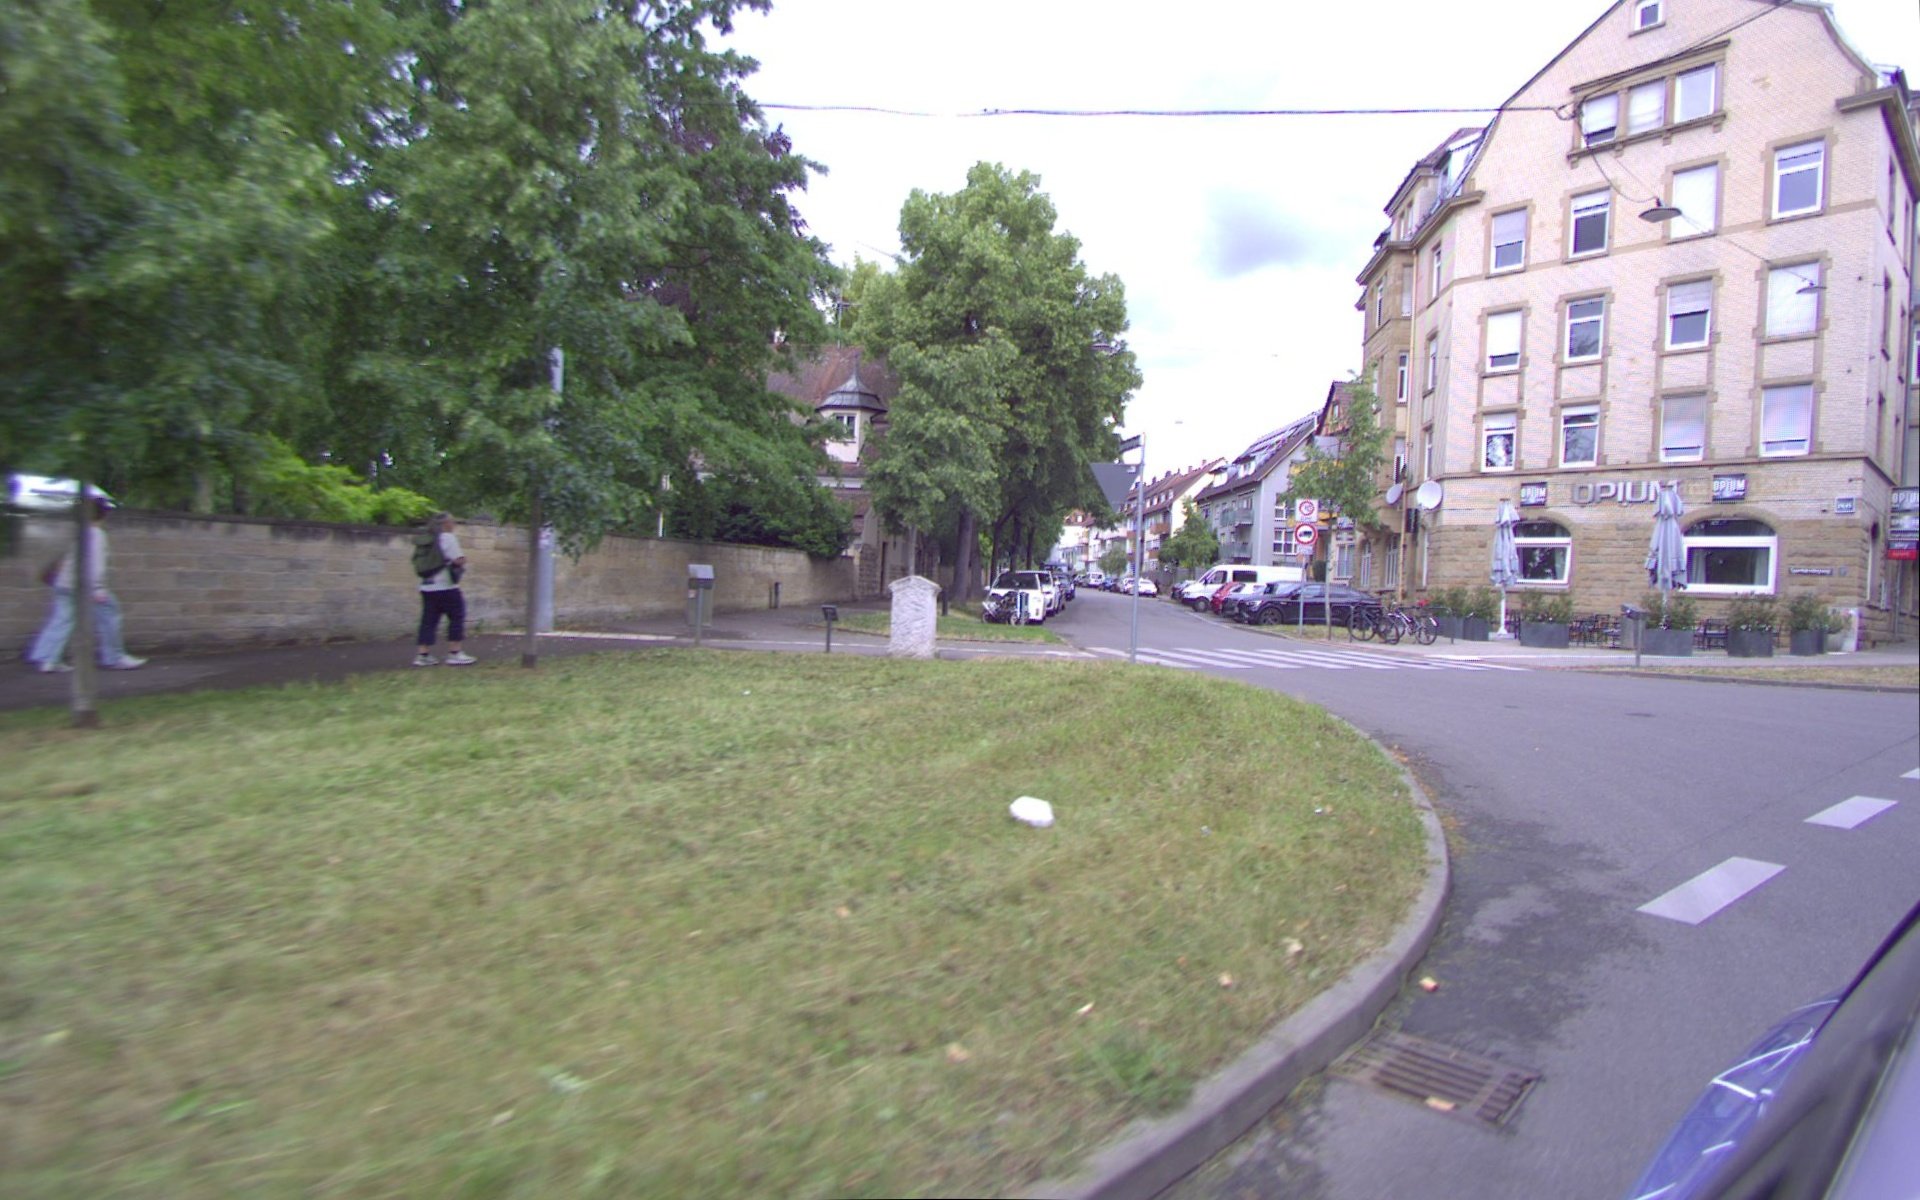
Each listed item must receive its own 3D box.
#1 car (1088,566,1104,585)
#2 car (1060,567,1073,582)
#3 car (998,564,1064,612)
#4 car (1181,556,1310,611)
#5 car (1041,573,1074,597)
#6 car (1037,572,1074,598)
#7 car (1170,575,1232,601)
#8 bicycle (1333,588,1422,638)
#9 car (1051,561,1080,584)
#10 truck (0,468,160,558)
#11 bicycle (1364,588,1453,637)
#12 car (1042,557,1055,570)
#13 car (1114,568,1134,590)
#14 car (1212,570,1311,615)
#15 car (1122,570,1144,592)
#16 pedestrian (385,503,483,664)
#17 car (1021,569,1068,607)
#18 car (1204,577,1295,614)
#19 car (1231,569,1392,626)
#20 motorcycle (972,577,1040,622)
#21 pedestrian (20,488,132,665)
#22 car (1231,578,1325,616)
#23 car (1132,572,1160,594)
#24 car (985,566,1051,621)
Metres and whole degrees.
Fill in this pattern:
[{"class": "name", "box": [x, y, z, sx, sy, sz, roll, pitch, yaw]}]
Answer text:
[{"class": "car", "box": [14.988, -2.673, 111.547, 1.687, 2.039, 3.993, 0, 0, 7]}, {"class": "car", "box": [13.727, -3.310, 130.600, 1.480, 1.862, 3.475, 0, 0, 2]}, {"class": "car", "box": [2.643, -0.462, 36.679, 1.967, 1.616, 4.362, 1, 1, 9]}, {"class": "car", "box": [13.010, -0.785, 46.415, 5.408, 2.320, 1.995, 2, 2, 9]}, {"class": "car", "box": [6.084, -0.939, 63.545, 1.965, 1.416, 4.124, 1, 1, 5]}, {"class": "car", "box": [5.519, -0.890, 58.093, 1.966, 1.372, 4.235, 2, 2, 7]}, {"class": "car", "box": [14.110, -0.686, 59.302, 3.233, 1.455, 1.548, 0, 0, 1]}, {"class": "bicycle", "box": [10.213, 0.300, 24.854, 0.589, 1.079, 2.192, 1, 2, -23]}, {"class": "car", "box": [7.587, -1.989, 72.772, 1.966, 1.615, 4.365, 2, 2, 7]}, {"class": "truck", "box": [-31.478, -2.963, 35.039, 5.652, 2.871, 2.224, -1, 0, -32]}, {"class": "bicycle", "box": [11.140, 0.294, 25.218, 0.589, 1.079, 2.192, 1, 2, -23]}, {"class": "car", "box": [14.393, -5.967, 164.799, 1.783, 2.039, 3.997, 0, 0, 2]}, {"class": "car", "box": [15.416, -1.974, 95.131, 1.668, 2.039, 3.732, 0, 0, 7]}, {"class": "car", "box": [10.857, -0.256, 36.609, 3.101, 1.555, 1.548, 1, 0, 1]}, {"class": "car", "box": [15.223, -1.647, 89.181, 1.701, 1.836, 3.865, 0, -1, 7]}, {"class": "pedestrian", "box": [-5.955, -0.193, 11.476, 0.702, 1.756, 0.657, 2, 1, 16]}, {"class": "car", "box": [3.566, -0.550, 42.335, 1.767, 1.454, 4.365, 2, 2, 7]}, {"class": "car", "box": [11.723, -0.175, 41.110, 3.233, 1.455, 1.548, 0, 0, 1]}, {"class": "car", "box": [10.884, -0.104, 31.593, 4.292, 1.615, 2.000, 2, 2, 2]}, {"class": "motorcycle", "box": [1.227, -0.016, 27.339, 0.551, 1.184, 1.993, 0, 0, -44]}, {"class": "pedestrian", "box": [-8.416, -0.233, 9.647, 0.574, 1.604, 0.571, 4, 2, 20]}, {"class": "car", "box": [12.204, -0.108, 38.991, 3.117, 1.419, 1.473, 0, 0, -1]}, {"class": "car", "box": [15.509, -1.375, 84.620, 1.966, 1.768, 3.993, 0, 0, 7]}, {"class": "car", "box": [1.847, -0.253, 30.934, 1.781, 1.517, 4.272, 2, 2, 6]}]
